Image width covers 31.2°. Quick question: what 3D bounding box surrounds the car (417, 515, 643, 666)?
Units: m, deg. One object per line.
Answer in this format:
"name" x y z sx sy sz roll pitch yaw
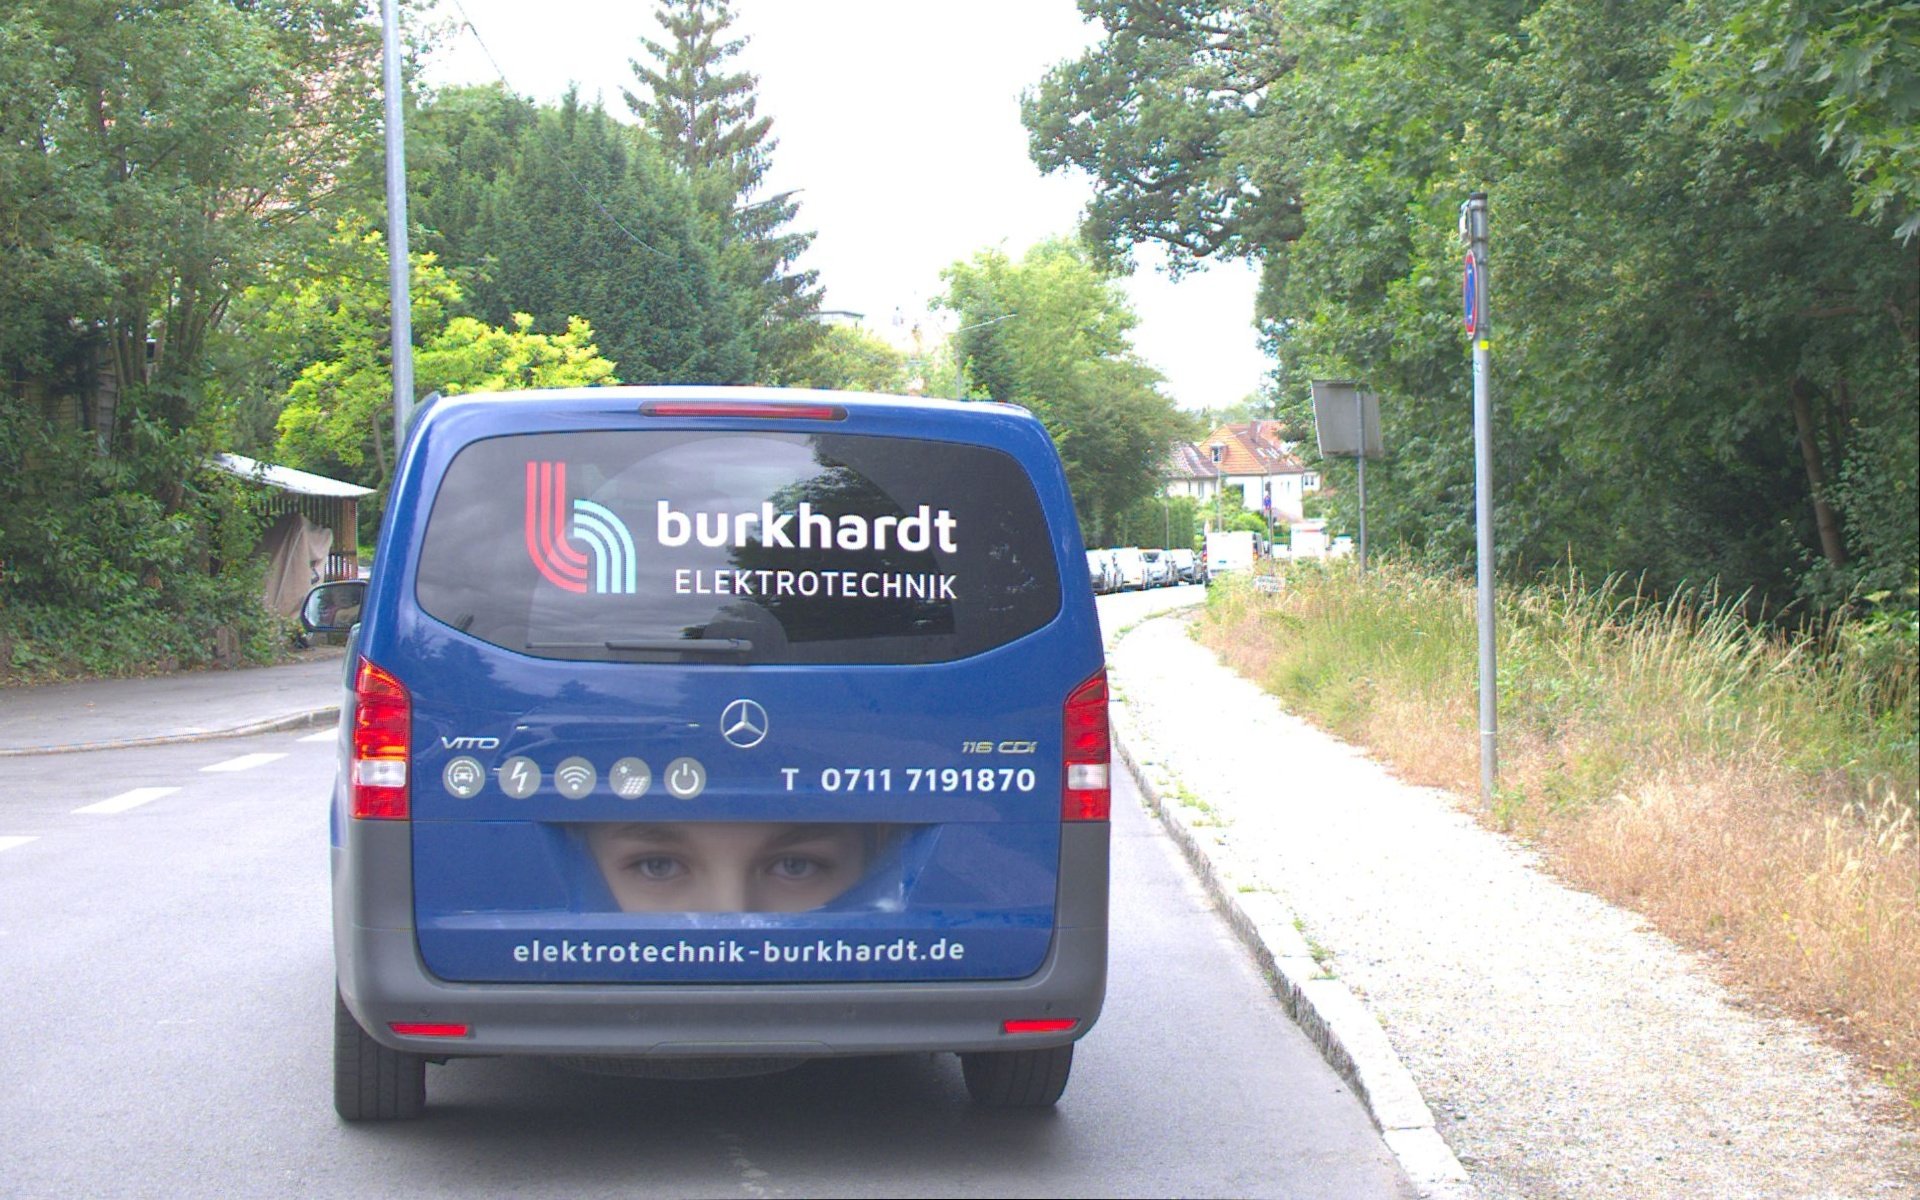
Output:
"car" -4.407 -0.126 35.761 1.705 1.462 4.076 1 1 2

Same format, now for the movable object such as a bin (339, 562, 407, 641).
"movable object such as a bin" -6.868 0.015 40.233 0.591 0.906 0.700 1 1 8

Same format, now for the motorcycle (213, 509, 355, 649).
"motorcycle" -7.468 -0.250 38.126 0.810 1.480 2.895 1 1 4

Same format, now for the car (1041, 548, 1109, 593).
"car" 3.697 -0.950 109.836 1.749 1.400 3.999 1 1 8

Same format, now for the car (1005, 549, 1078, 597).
"car" 2.485 -0.838 103.751 1.749 1.400 3.999 1 1 8

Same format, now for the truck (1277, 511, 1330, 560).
"truck" 20.035 -3.779 200.194 2.764 2.784 9.266 0 1 8

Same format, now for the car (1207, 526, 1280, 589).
"car" 9.613 -1.462 116.089 2.206 2.056 6.133 0 1 7

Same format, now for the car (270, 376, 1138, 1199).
"car" -0.873 0.378 9.949 1.936 1.873 4.532 0 2 -8

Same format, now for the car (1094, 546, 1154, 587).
"car" 5.865 -1.208 122.621 1.749 1.400 3.999 1 1 8

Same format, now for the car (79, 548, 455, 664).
"car" -9.047 0.063 45.060 4.482 1.436 1.878 1 1 5

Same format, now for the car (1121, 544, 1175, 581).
"car" 7.223 -1.445 131.892 1.749 1.400 3.999 1 1 8
